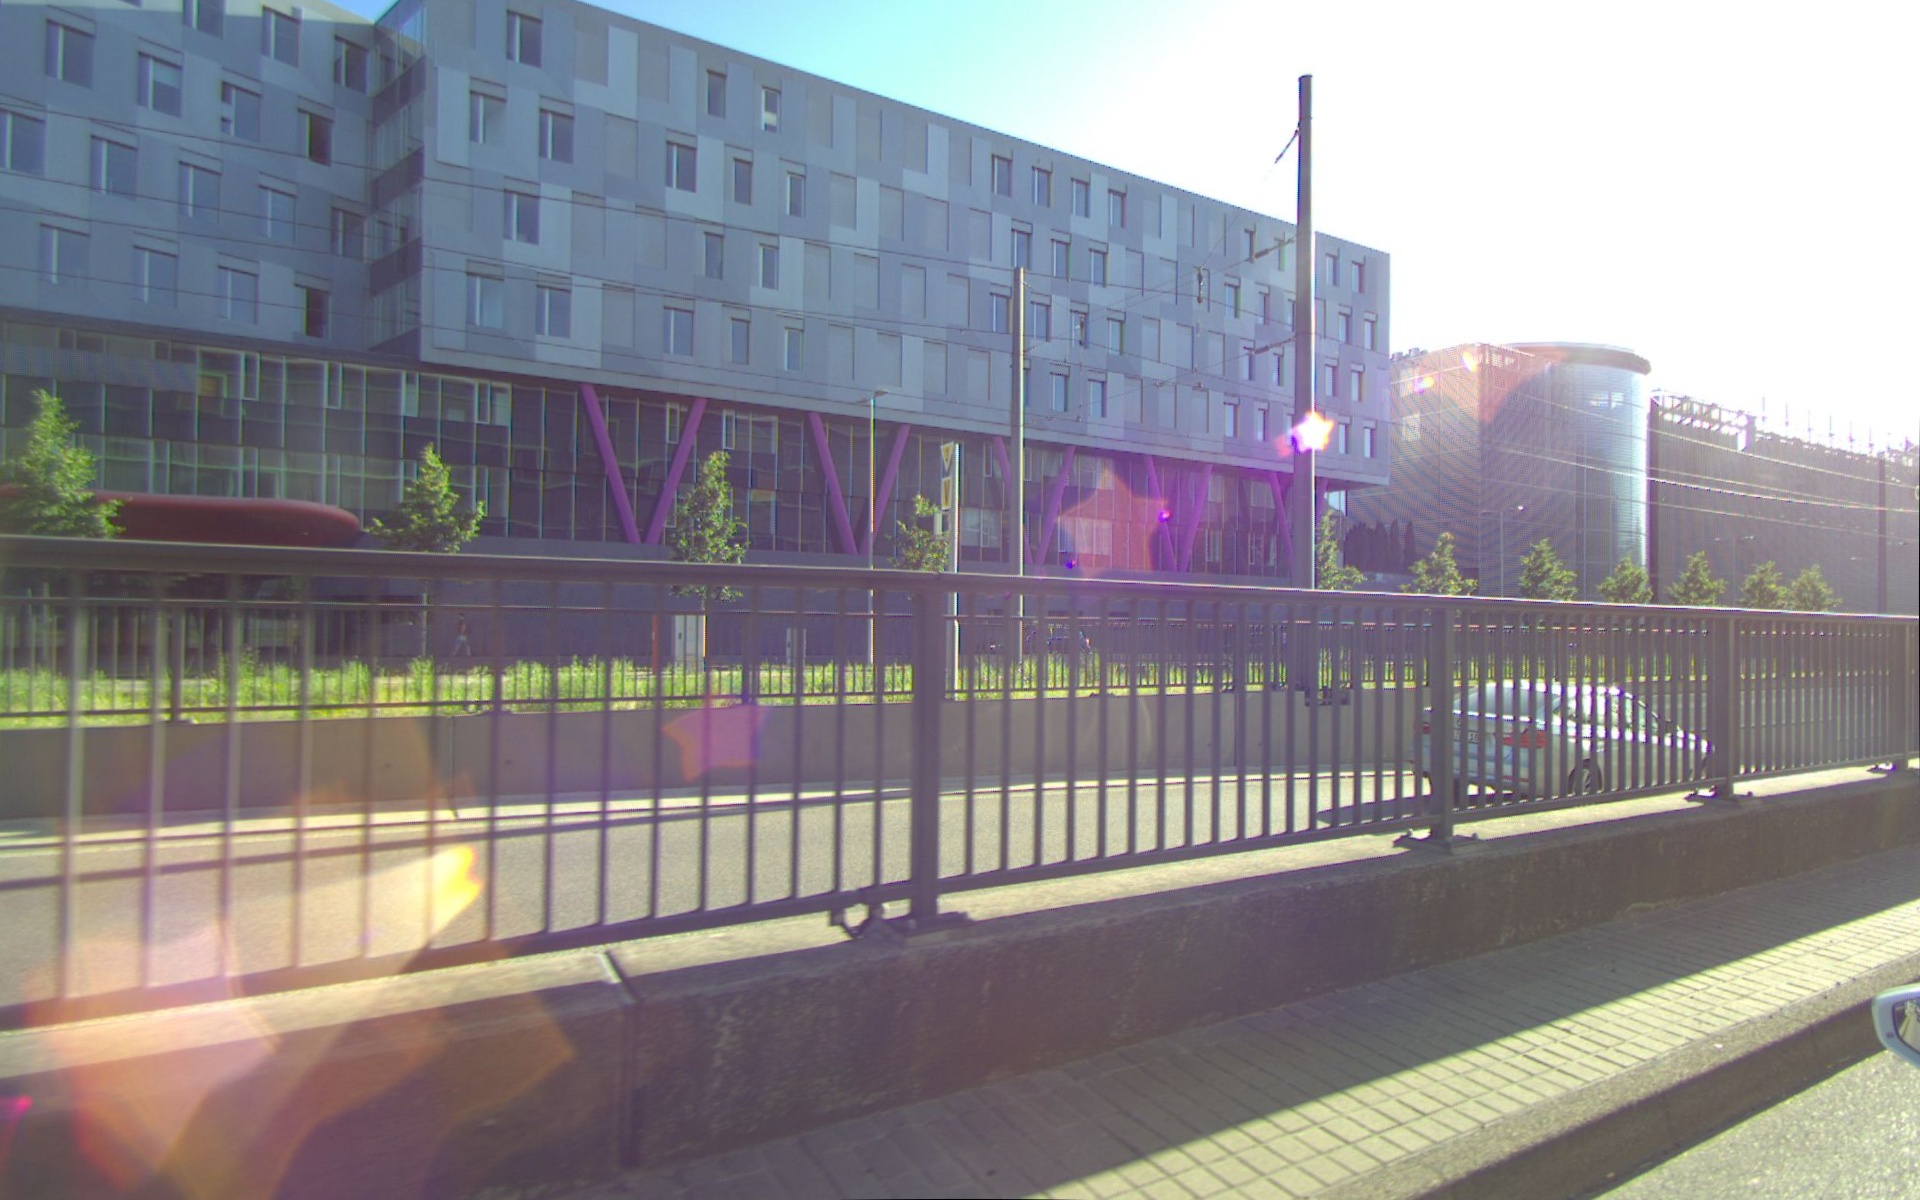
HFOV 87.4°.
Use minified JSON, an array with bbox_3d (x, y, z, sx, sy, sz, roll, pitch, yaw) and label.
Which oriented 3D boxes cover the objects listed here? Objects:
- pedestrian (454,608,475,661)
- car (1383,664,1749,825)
[{"bbox_3d":[-19.659,1.364,39.838,0.681,2.040,0.733,1,-1,-29],"label":"pedestrian"},{"bbox_3d":[7.749,1.673,12.721,4.851,1.547,1.790,1,0,-29],"label":"car"}]
